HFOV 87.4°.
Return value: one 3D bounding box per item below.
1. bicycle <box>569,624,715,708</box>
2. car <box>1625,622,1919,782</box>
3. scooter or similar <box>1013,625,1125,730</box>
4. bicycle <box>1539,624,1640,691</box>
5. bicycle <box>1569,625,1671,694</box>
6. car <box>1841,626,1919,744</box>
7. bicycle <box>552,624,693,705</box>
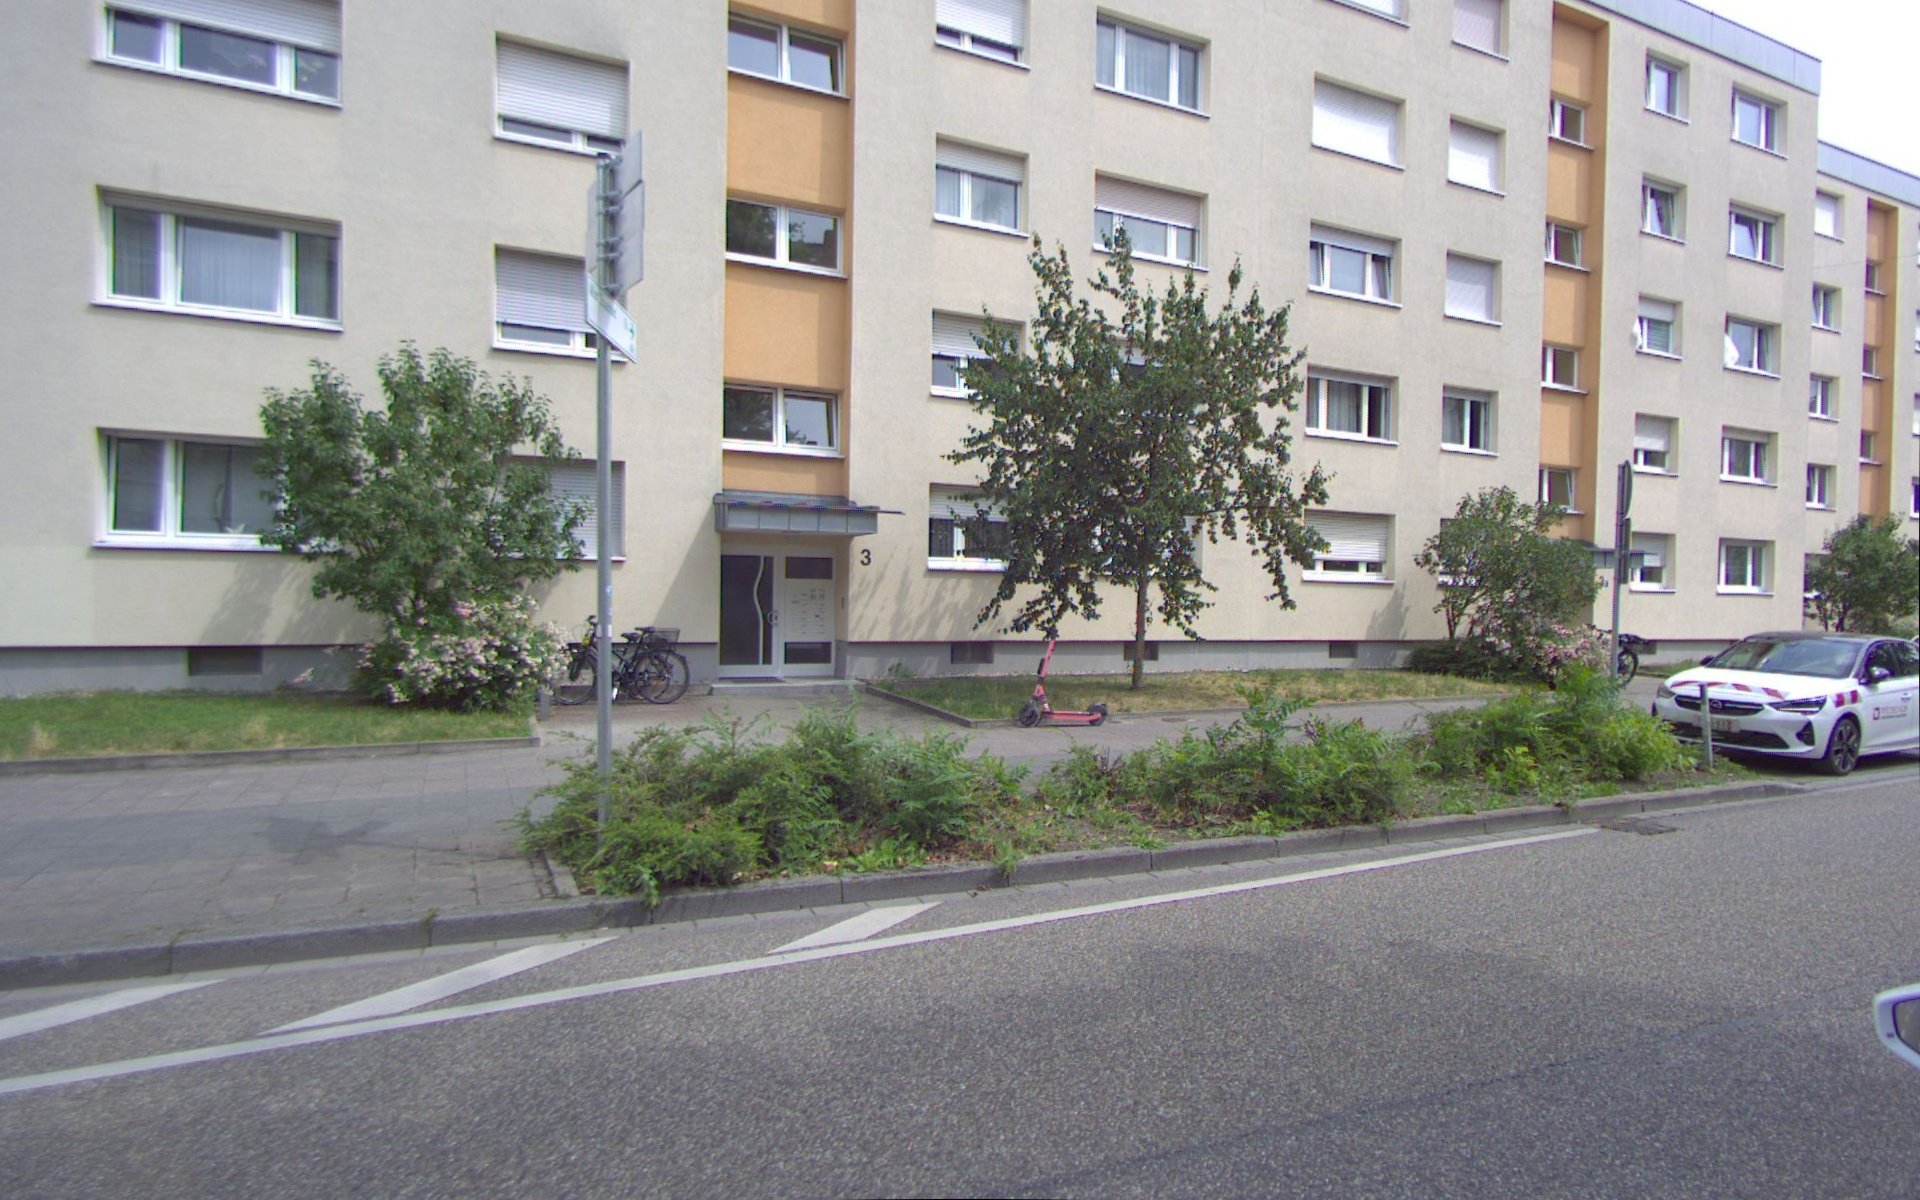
[{"bbox_3d":[-4.147,0.849,13.151,1.777,1.052,0.410,1,0,-20],"label":"bicycle"},{"bbox_3d":[9.754,1.056,11.593,3.937,1.493,1.702,1,2,-27],"label":"car"},{"bbox_3d":[1.318,0.926,12.166,1.269,1.209,0.401,1,2,-17],"label":"scooter or similar"},{"bbox_3d":[12.561,1.122,20.049,2.012,1.268,0.536,0,0,-18],"label":"bicycle"},{"bbox_3d":[12.733,1.129,19.382,1.902,1.268,0.578,0,1,-18],"label":"bicycle"},{"bbox_3d":[14.298,1.163,14.094,3.941,1.493,1.700,1,2,-30],"label":"car"},{"bbox_3d":[-4.561,0.863,13.634,1.778,1.052,0.410,1,0,-21],"label":"bicycle"}]
